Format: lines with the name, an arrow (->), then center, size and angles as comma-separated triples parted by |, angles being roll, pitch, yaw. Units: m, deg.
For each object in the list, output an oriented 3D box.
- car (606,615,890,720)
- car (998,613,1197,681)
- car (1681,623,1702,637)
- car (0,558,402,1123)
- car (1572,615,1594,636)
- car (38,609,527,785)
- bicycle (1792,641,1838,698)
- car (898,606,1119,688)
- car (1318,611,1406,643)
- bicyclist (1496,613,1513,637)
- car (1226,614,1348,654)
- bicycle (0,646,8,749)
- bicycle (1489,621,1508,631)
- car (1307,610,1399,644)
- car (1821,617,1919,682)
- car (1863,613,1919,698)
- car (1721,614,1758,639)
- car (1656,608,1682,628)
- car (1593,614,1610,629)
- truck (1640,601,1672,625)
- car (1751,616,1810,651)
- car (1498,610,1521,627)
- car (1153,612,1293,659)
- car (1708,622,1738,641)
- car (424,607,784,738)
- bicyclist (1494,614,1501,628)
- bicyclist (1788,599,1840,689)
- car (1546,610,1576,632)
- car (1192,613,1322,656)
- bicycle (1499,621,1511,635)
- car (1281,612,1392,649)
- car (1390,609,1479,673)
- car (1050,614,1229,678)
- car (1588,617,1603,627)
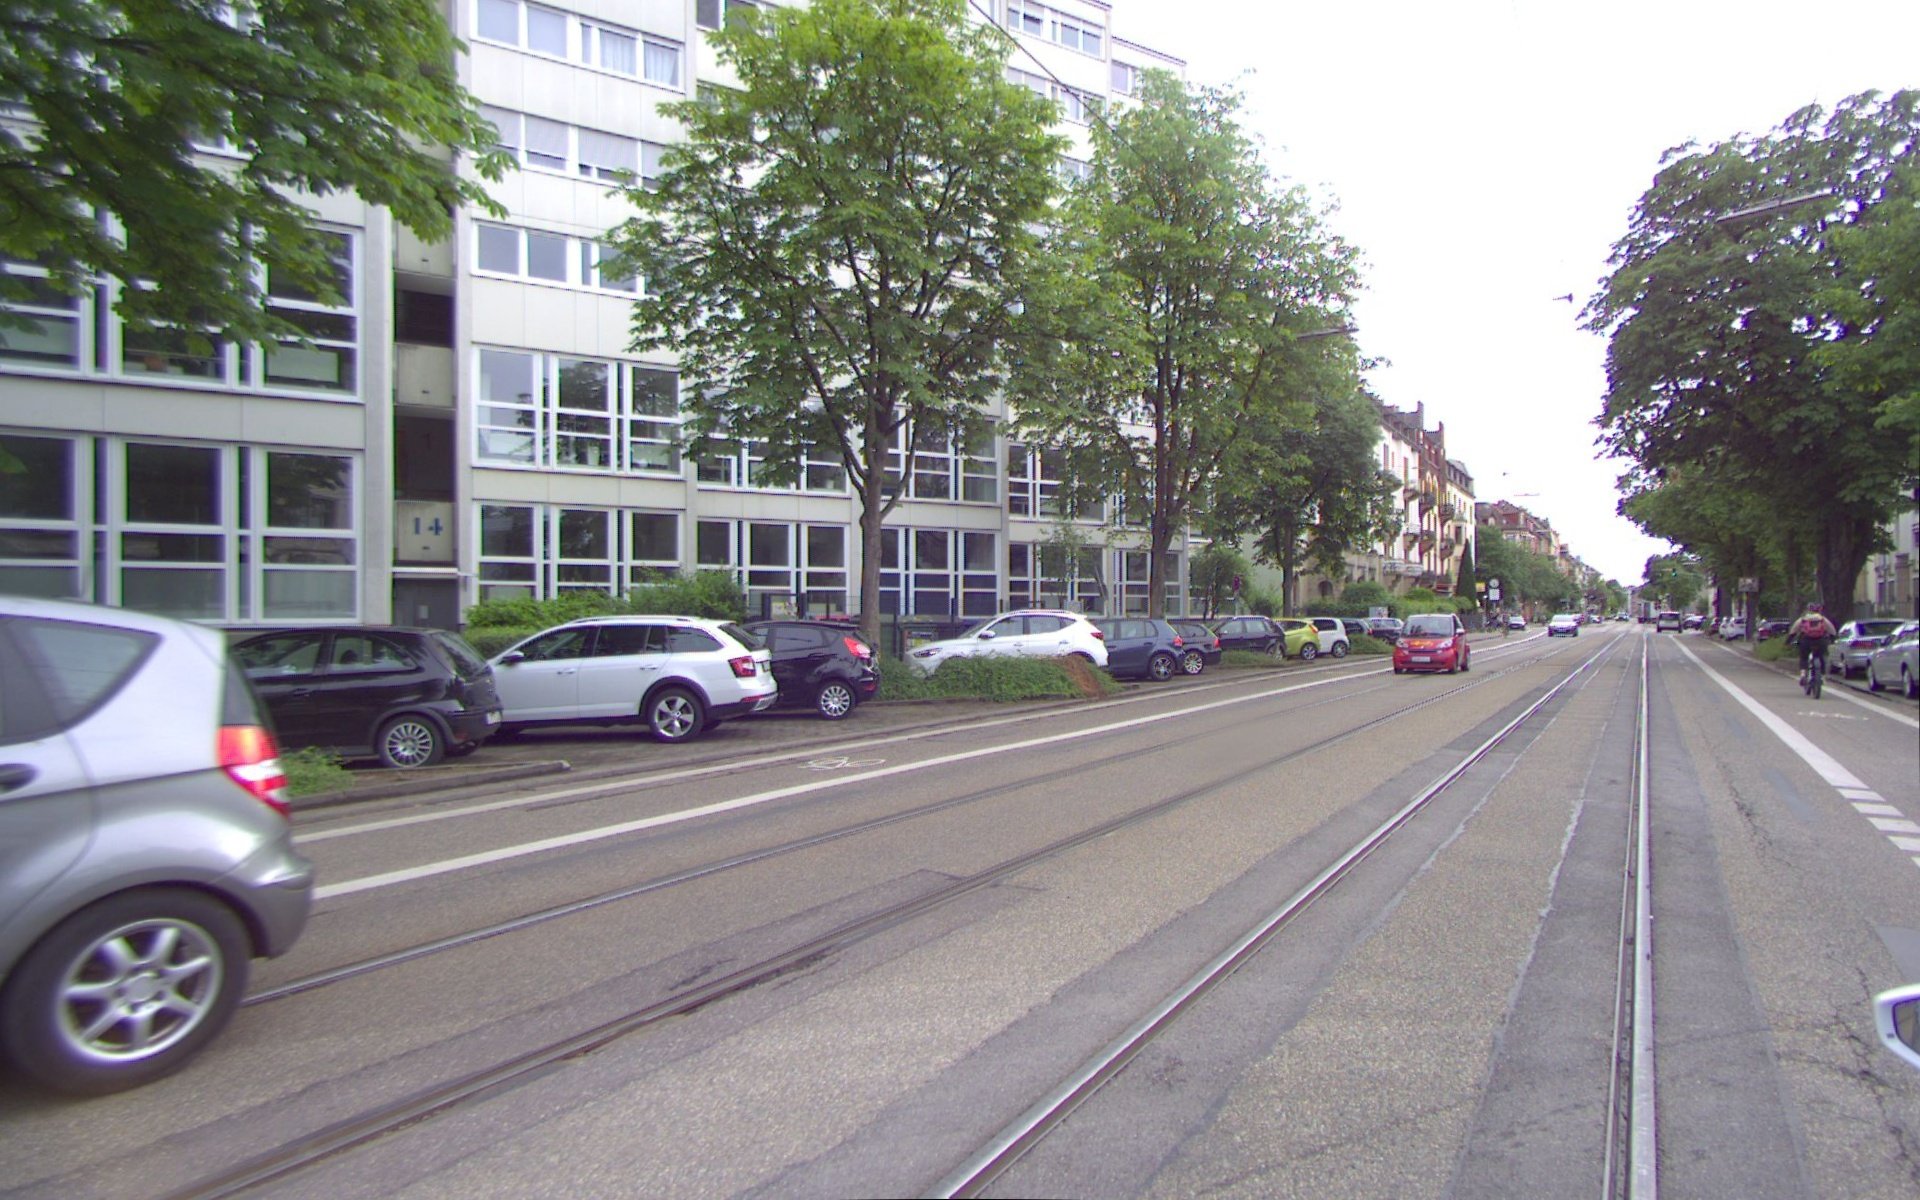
car -> -3.063, 0.978, 15.174 | 3.951, 1.424, 1.699 | 1, 0, -3
car -> 3.157, 1.073, 23.405 | 4.269, 1.473, 1.697 | 1, 0, -11
car -> 78.617, 3.182, 107.957 | 1.747, 1.417, 3.780 | -1, -1, 37
car -> -3.861, 0.686, 2.653 | 1.875, 1.550, 3.742 | -2, -2, 34
car -> 76.068, 3.108, 122.612 | 2.175, 2.449, 3.989 | -1, -1, 33
car -> -6.490, 0.893, 10.035 | 3.639, 1.544, 1.697 | 1, 0, -9
bicycle -> 16.011, 1.271, 18.828 | 0.483, 0.992, 2.050 | 1, -1, 36
car -> 0.966, 0.953, 20.818 | 4.273, 1.577, 1.695 | 1, 0, -14
car -> 19.210, 1.271, 48.132 | 3.644, 1.404, 1.701 | 1, 0, 11
bicyclist -> 35.660, 1.635, 65.810 | 0.832, 1.520, 1.023 | -1, -1, 36
car -> 11.927, 1.241, 36.679 | 3.897, 1.370, 1.697 | 1, 0, -11
bicycle -> -12.788, 1.232, 12.306 | 1.580, 1.285, 0.402 | 0, -1, -36
bicycle -> 45.009, 2.197, 83.967 | 1.424, 0.811, 0.434 | -1, -1, 28
car -> 17.795, 1.214, 45.601 | 3.644, 1.404, 1.701 | 1, 0, 11
car -> 22.452, 1.158, 24.755 | 1.455, 1.448, 3.554 | 0, 0, 34
car -> 18.362, 0.998, 18.958 | 1.455, 1.500, 3.554 | 0, 0, 34
car -> 45.724, 1.547, 58.975 | 1.646, 1.417, 3.647 | -1, -1, 37
car -> 63.366, 1.602, 89.761 | 1.789, 1.731, 3.684 | 0, -1, 37
car -> 101.359, 3.346, 158.681 | 2.176, 2.285, 3.987 | -1, -1, 35
truck -> 118.915, 2.228, 171.740 | 3.754, 4.083, 10.194 | -1, -1, 31
car -> 35.199, 1.410, 43.144 | 1.768, 1.417, 3.780 | -1, -1, 37
car -> 72.224, 2.447, 131.923 | 2.149, 2.236, 4.204 | -1, -1, 35
car -> 8.228, 1.114, 31.555 | 3.897, 1.370, 1.697 | 1, 0, -11
car -> 57.393, 2.352, 75.598 | 1.747, 1.417, 3.780 | -1, -1, 37
car -> -4.343, 0.870, 12.738 | 3.951, 1.504, 1.699 | 1, 0, -3
bicyclist -> 44.918, 1.731, 83.968 | 0.504, 1.184, 0.438 | -1, -1, 28
bicyclist -> 15.897, 0.807, 18.716 | 0.649, 1.632, 0.916 | -1, -1, 36
car -> 41.690, 1.430, 69.695 | 1.716, 1.448, 3.991 | -1, -1, 31
car -> 10.075, 1.179, 34.198 | 3.897, 1.370, 1.697 | 1, 0, -11
bicycle -> 35.757, 1.860, 65.918 | 0.463, 0.880, 2.131 | -1, -1, 35
car -> 15.216, 1.227, 40.664 | 3.897, 1.370, 1.697 | 1, 0, -11
car -> 12.368, 1.026, 26.094 | 1.654, 1.542, 2.773 | 0, -1, 35
car -> 4.647, 1.176, 26.184 | 4.269, 1.556, 1.697 | 1, 0, -11
car -> 109.150, 3.819, 172.435 | 1.751, 1.665, 3.551 | -1, -1, 38
